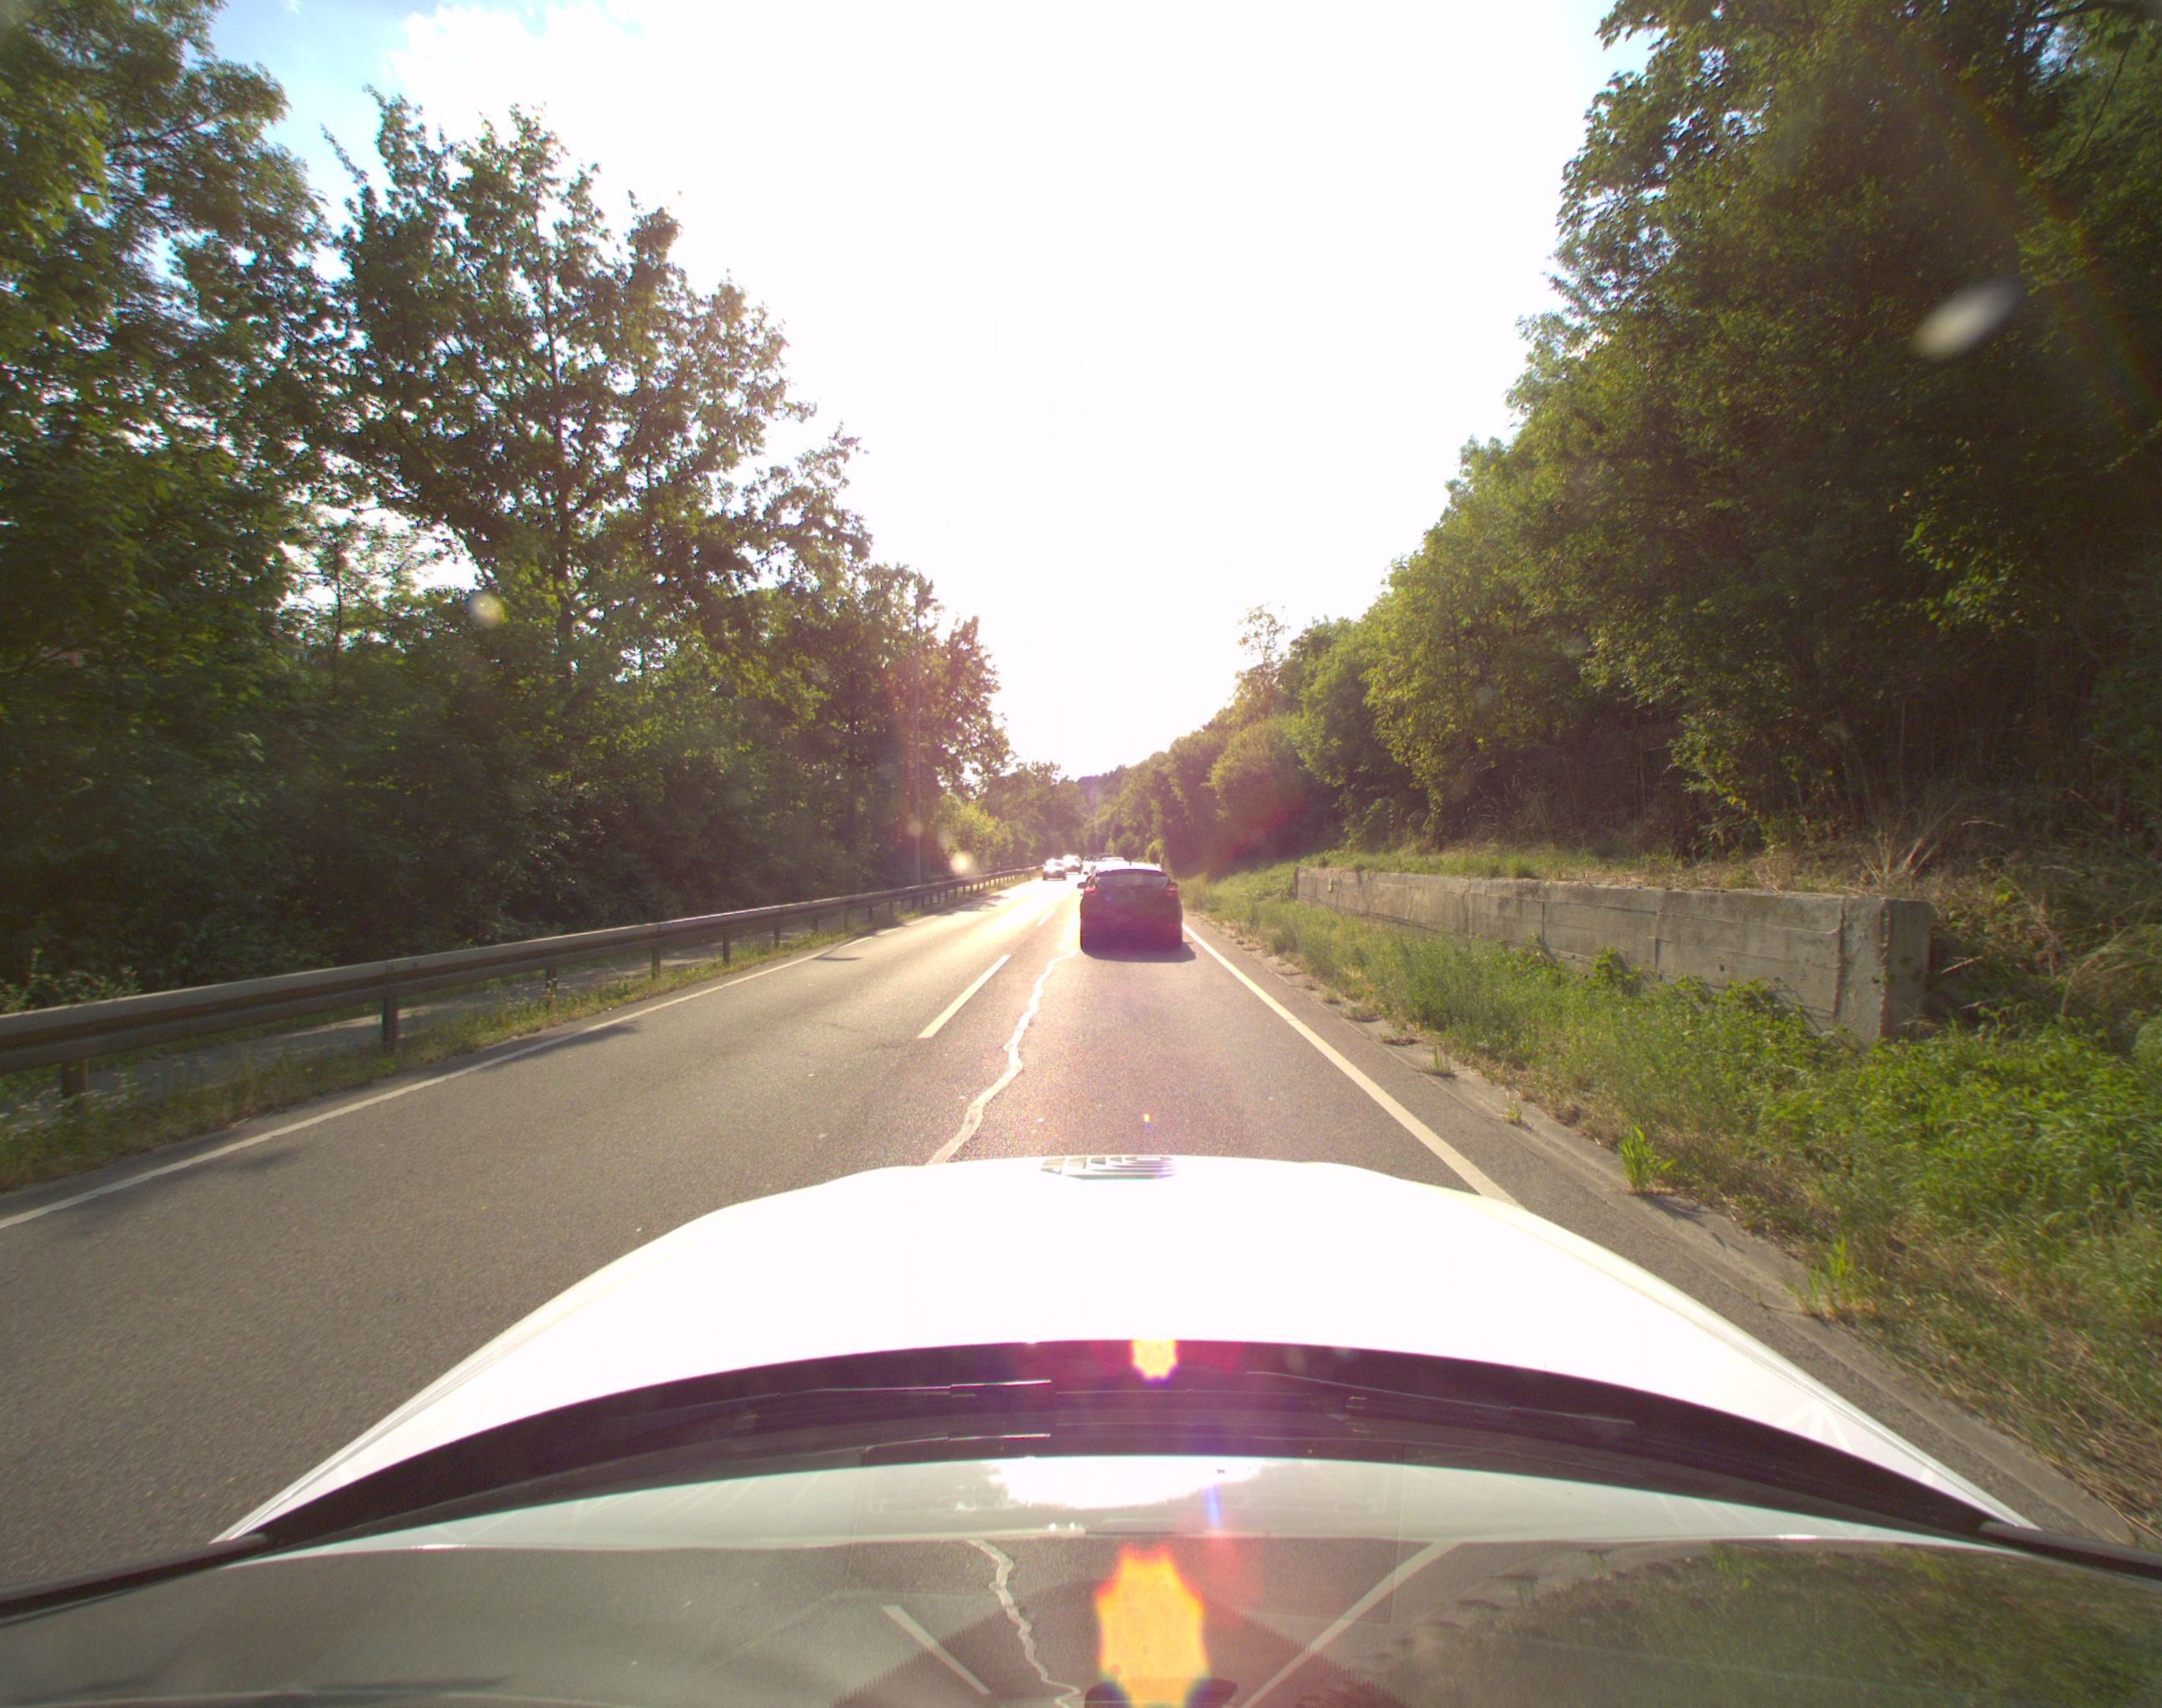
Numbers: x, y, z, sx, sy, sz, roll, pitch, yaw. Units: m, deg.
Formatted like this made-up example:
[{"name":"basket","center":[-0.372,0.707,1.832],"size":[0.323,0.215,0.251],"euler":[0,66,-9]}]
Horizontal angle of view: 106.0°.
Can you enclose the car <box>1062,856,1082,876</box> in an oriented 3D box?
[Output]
[{"name":"car","center":[-0.841,1.111,77.019],"size":[1.742,1.717,4.220],"euler":[-1,0,0]}]

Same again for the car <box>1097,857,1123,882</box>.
[{"name":"car","center":[1.919,0.998,53.730],"size":[1.624,1.596,4.002],"euler":[-1,0,2]}]

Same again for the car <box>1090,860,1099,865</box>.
[{"name":"car","center":[3.835,2.418,231.900],"size":[1.991,1.519,3.992],"euler":[-1,0,-6]}]

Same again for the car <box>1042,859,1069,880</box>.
[{"name":"car","center":[-1.819,1.088,59.341],"size":[1.675,1.442,4.002],"euler":[-1,0,2]}]

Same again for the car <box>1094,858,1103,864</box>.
[{"name":"car","center":[4.488,1.903,210.824],"size":[1.991,1.519,3.992],"euler":[-1,0,-6]}]

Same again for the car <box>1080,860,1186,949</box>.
[{"name":"car","center":[0.925,0.848,15.355],"size":[1.733,1.456,4.002],"euler":[0,-1,2]}]

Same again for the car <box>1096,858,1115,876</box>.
[{"name":"car","center":[2.222,1.156,73.203],"size":[1.624,1.596,4.002],"euler":[-1,0,2]}]

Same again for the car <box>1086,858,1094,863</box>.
[{"name":"car","center":[2.714,1.947,244.423],"size":[1.991,1.519,3.992],"euler":[-1,0,-6]}]

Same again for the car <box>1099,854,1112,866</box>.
[{"name":"car","center":[3.501,0.862,118.655],"size":[1.856,1.780,4.001],"euler":[-1,0,1]}]

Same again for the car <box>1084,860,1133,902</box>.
[{"name":"car","center":[1.059,0.951,30.099],"size":[1.654,1.418,4.003],"euler":[-1,0,3]}]

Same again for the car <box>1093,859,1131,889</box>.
[{"name":"car","center":[1.552,0.981,41.338],"size":[1.798,1.391,4.002],"euler":[-1,0,2]}]
